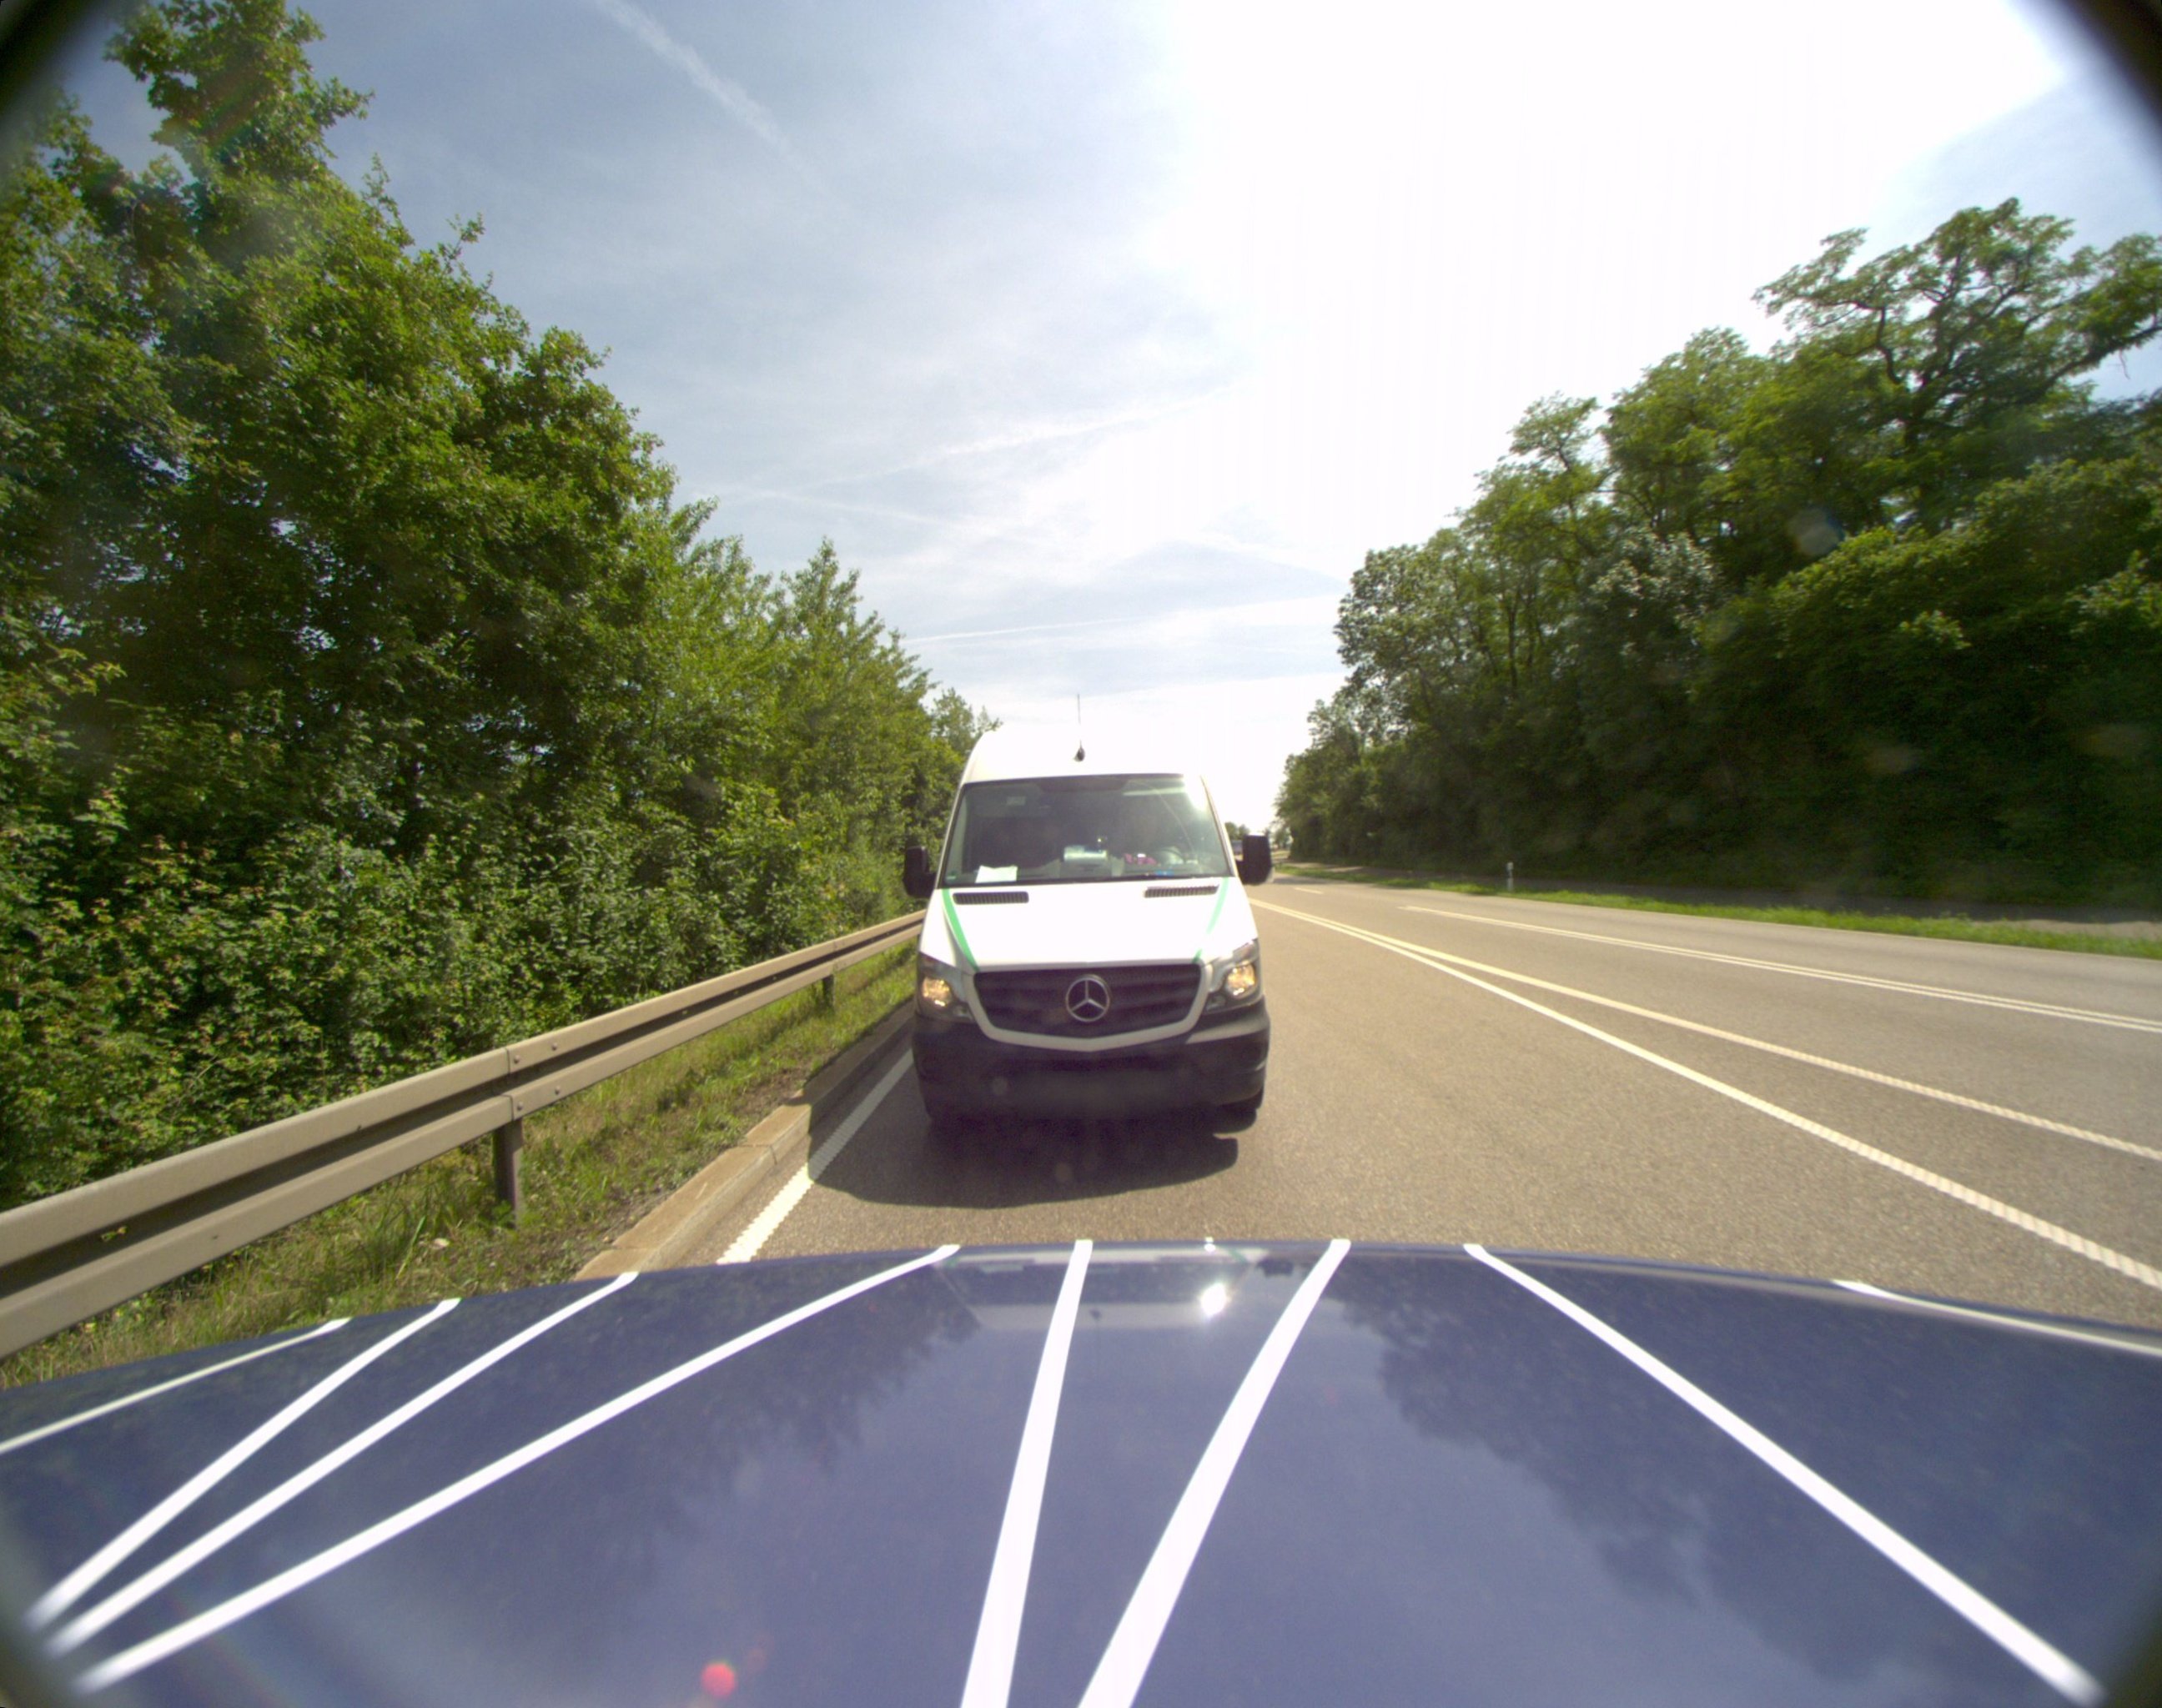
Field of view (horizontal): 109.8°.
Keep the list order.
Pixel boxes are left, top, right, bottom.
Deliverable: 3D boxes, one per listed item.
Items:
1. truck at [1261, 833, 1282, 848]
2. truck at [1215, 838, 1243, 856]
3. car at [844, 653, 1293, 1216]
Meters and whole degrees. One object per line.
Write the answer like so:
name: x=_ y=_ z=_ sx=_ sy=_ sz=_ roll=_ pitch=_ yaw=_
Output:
truck: x=60.191 y=-4.362 z=239.617 sx=3.980 sy=4.433 sz=14.362 roll=-2 pitch=0 yaw=23
truck: x=38.660 y=-1.883 z=197.954 sx=4.391 sy=4.433 sz=14.733 roll=-2 pitch=0 yaw=21
car: x=0.025 y=0.379 z=6.081 sx=1.958 sy=2.502 sz=5.267 roll=-2 pitch=0 yaw=2
